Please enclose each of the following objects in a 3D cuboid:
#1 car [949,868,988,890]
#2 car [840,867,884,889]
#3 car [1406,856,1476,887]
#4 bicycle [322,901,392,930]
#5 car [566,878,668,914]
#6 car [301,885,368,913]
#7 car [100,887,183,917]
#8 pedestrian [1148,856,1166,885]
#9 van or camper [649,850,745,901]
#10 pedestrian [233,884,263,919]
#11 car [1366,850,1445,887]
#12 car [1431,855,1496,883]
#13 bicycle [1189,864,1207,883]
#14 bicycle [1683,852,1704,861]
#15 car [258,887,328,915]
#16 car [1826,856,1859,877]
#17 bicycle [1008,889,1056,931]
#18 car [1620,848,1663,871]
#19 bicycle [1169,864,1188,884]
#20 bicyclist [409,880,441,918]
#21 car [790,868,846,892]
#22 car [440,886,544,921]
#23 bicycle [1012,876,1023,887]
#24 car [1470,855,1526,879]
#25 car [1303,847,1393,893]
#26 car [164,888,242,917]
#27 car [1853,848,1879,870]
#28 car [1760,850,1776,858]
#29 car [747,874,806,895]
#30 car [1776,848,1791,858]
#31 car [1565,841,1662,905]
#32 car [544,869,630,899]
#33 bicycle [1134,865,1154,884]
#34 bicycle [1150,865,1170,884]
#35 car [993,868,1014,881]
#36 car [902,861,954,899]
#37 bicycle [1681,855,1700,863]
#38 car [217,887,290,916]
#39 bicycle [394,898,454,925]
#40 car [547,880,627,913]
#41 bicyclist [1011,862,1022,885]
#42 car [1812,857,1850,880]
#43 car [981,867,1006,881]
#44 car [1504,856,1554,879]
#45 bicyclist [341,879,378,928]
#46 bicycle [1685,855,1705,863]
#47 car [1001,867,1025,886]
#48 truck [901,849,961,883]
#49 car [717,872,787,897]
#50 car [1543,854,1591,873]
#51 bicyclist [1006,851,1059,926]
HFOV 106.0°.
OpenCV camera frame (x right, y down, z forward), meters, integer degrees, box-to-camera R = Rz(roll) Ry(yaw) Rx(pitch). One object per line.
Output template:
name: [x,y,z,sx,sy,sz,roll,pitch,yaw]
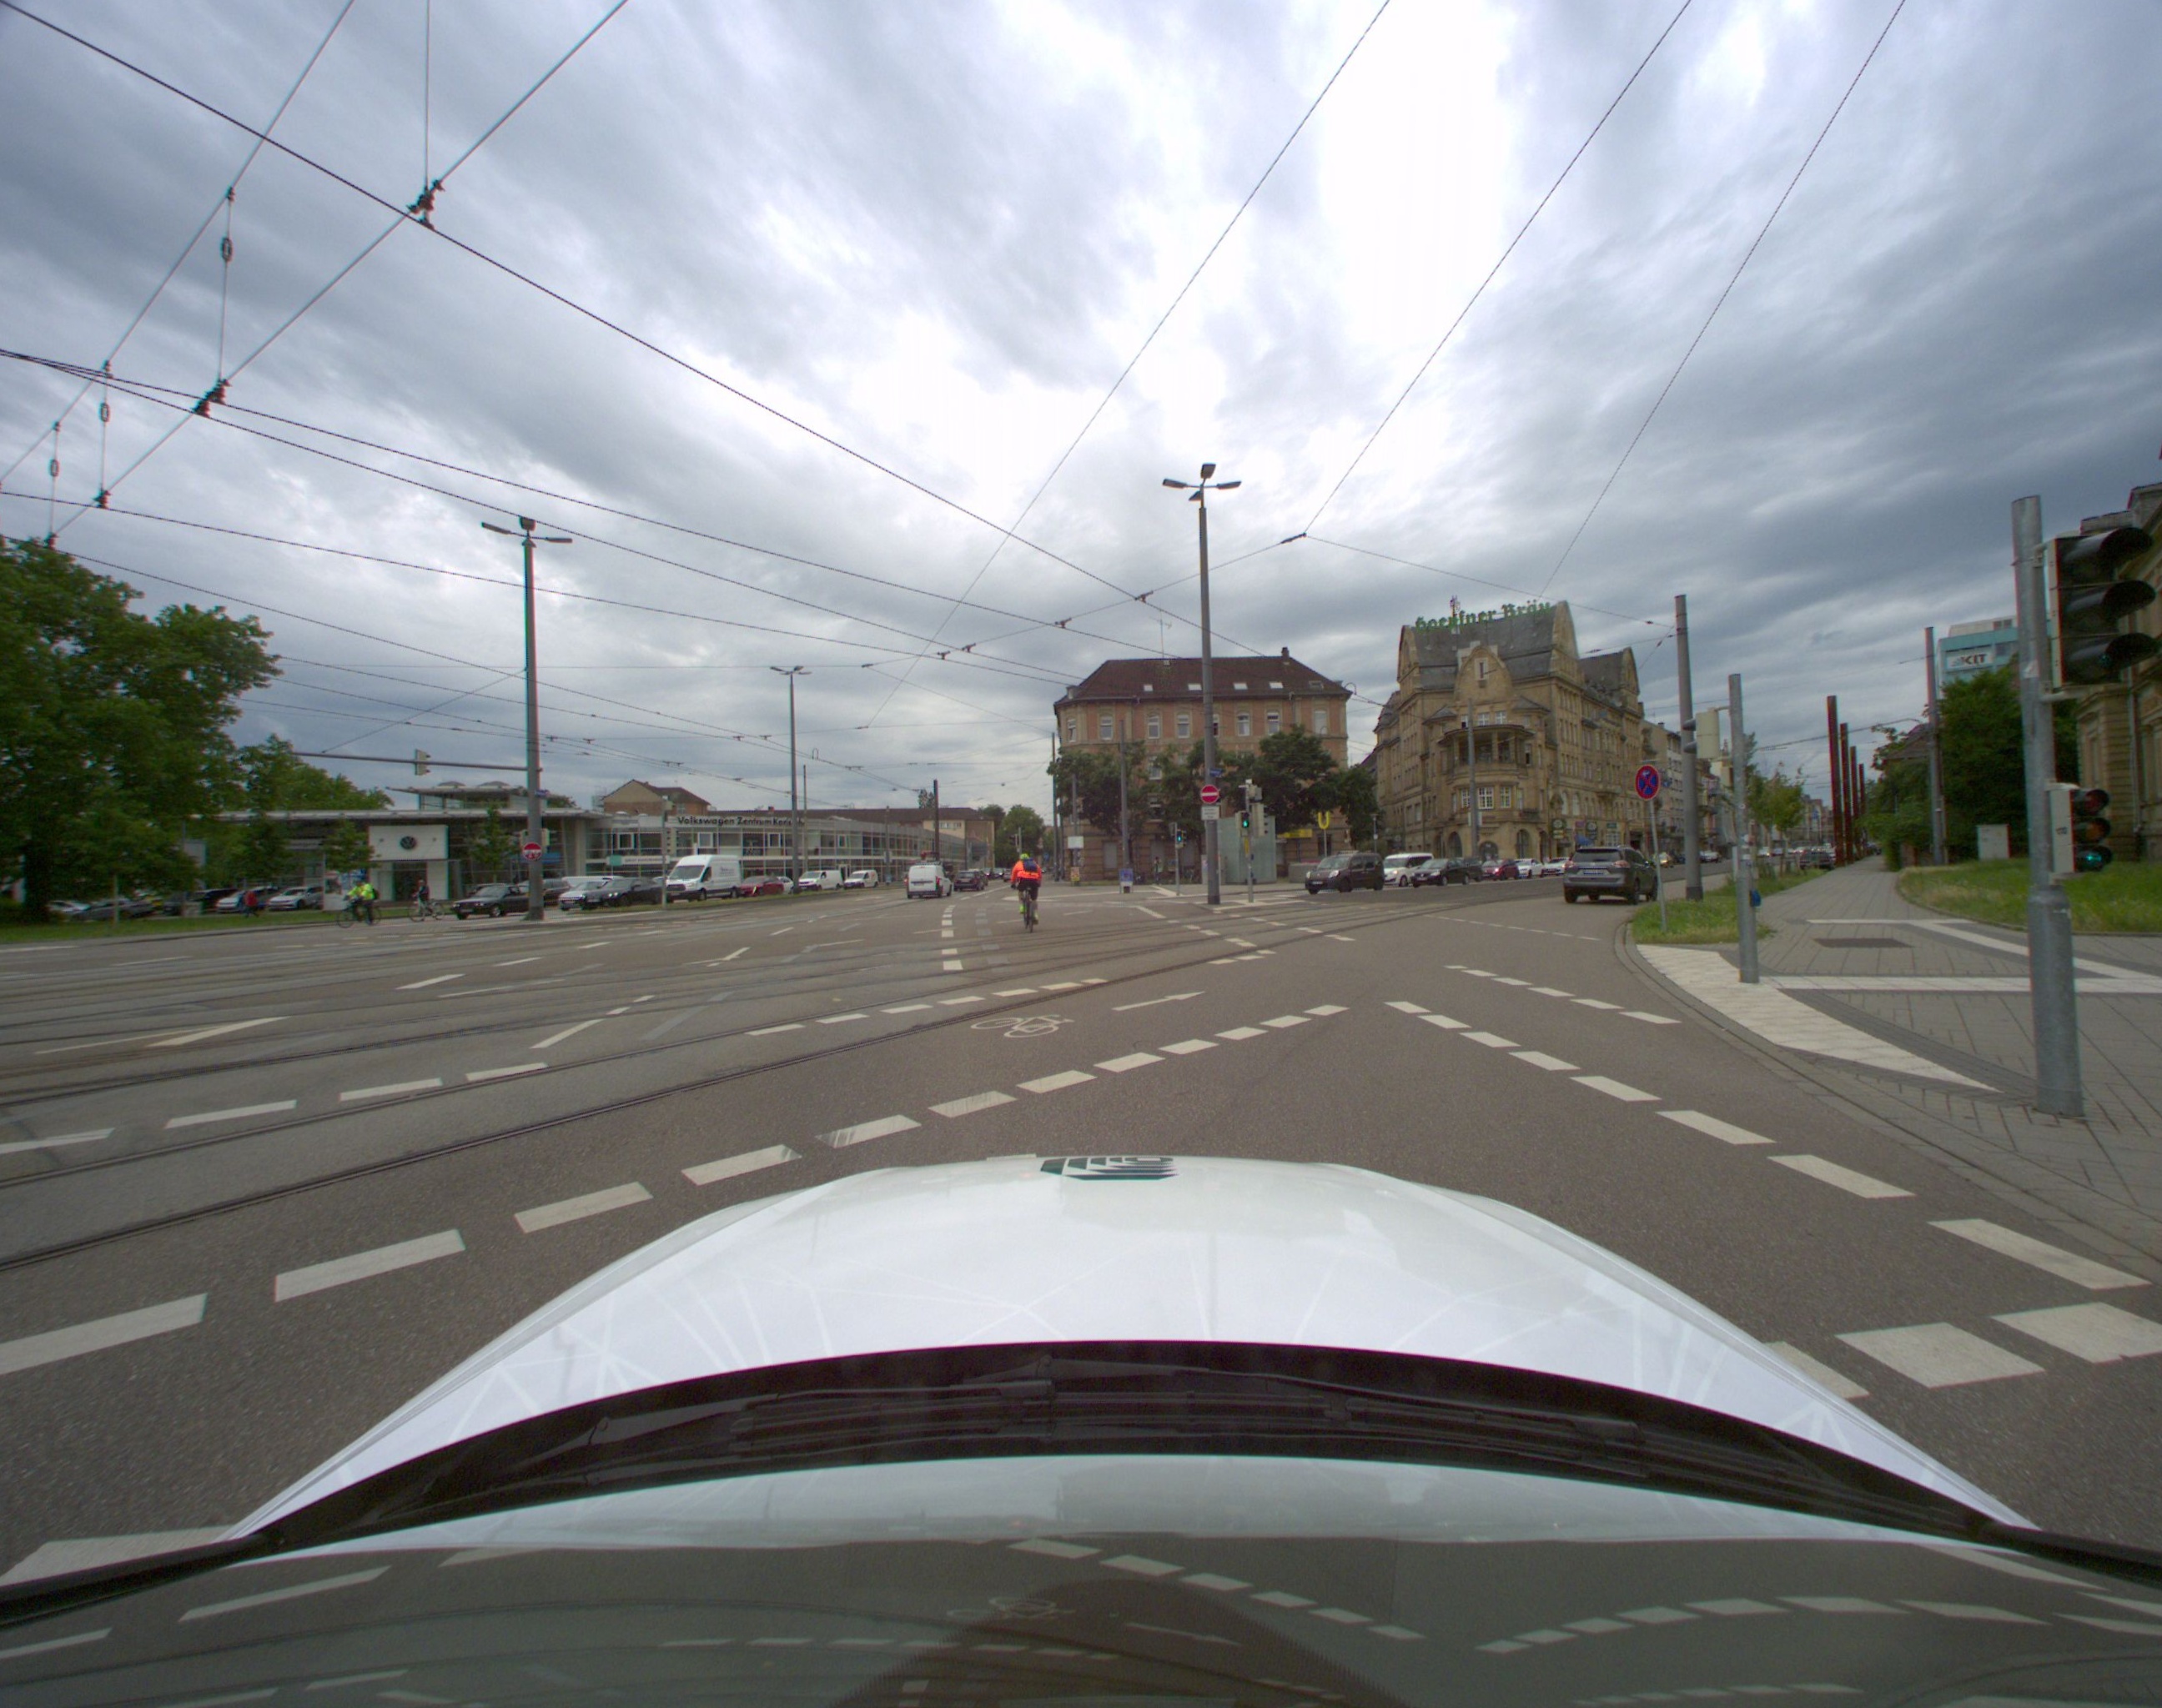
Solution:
car: [-7.684,1.703,56.105,1.986,1.420,4.001,-2,-1,2]
car: [-20.360,2.212,75.851,1.980,1.839,4.538,-2,-1,12]
car: [18.260,0.870,41.220,4.021,1.442,1.674,0,-2,-41]
bicycle: [-27.327,2.316,30.794,0.516,0.930,2.226,-2,0,5]
car: [-21.363,1.905,37.760,1.987,1.420,4.661,-2,-1,0]
car: [-58.265,3.477,63.639,1.994,2.014,3.984,0,-1,-11]
car: [-69.976,3.542,60.765,1.994,2.014,3.984,0,-1,-11]
pedestrian: [4.596,0.971,49.203,0.912,1.728,0.598,-1,-1,-19]
van or camper: [-21.229,1.185,45.398,2.407,2.611,6.051,-1,-1,1]
pedestrian: [-45.310,2.581,44.324,0.702,1.900,0.865,-1,-2,14]
car: [18.191,0.771,45.535,5.127,1.916,1.847,-1,-1,-40]
car: [23.220,0.900,49.370,4.324,1.535,1.847,-1,-3,-40]
bicycle: [8.519,1.431,59.107,0.951,1.354,3.132,-1,-1,14]
bicycle: [80.912,0.362,107.599,2.209,1.126,0.507,-2,-1,38]
car: [-61.090,3.580,63.246,1.994,2.014,3.984,0,-1,-11]
car: [62.171,0.999,66.428,1.739,1.574,3.953,-6,-4,45]
bicycle: [-1.132,1.233,18.367,0.558,0.848,2.060,-1,-1,-18]
car: [45.796,0.436,66.528,4.937,1.706,1.846,-1,-2,-43]
bicycle: [7.060,1.441,58.903,0.951,1.354,3.132,-1,-1,14]
bicyclist: [-27.163,1.843,33.743,0.563,1.508,0.858,-2,0,4]
car: [-21.811,2.130,67.811,2.143,1.856,5.462,-2,-1,10]
car: [-24.875,2.054,34.572,1.681,1.247,3.737,-2,-1,0]
bicycle: [-4.715,2.069,60.581,0.619,0.793,1.585,-1,-1,-11]
car: [27.252,0.842,53.169,3.916,1.399,1.846,-1,-3,-41]
car: [11.773,0.690,35.768,4.409,1.900,1.674,0,-2,-41]
car: [-66.341,3.622,61.610,1.994,2.014,3.984,0,-1,-11]
car: [85.306,0.532,88.487,5.013,2.115,1.834,0,-4,-45]
car: [118.780,-0.007,140.806,4.641,1.449,1.743,-1,-1,-44]
car: [-22.987,2.247,61.734,1.981,1.420,4.763,-2,-1,10]
car: [133.992,-0.210,155.227,4.641,1.672,1.743,-1,-1,-44]
car: [15.932,0.511,24.301,1.733,1.756,3.947,-1,0,44]
car: [-34.789,2.116,57.419,4.750,2.014,2.121,-1,-2,0]
bicycle: [4.617,1.474,59.188,0.951,1.354,3.132,-1,-1,14]
bicycle: [5.764,1.459,59.045,0.951,1.354,3.132,-1,-1,14]
car: [-11.222,2.914,117.823,1.983,1.839,4.532,-2,-1,7]
car: [-8.279,1.371,44.481,1.905,1.940,4.132,-2,-1,1]
bicycle: [77.035,0.674,102.956,1.903,1.001,0.466,-2,-1,38]
car: [-63.535,3.607,62.609,1.994,2.014,3.984,0,-1,-11]
bicycle: [-27.148,2.367,33.717,0.516,0.926,2.226,-2,0,5]
car: [-24.268,2.049,40.166,1.630,1.420,3.737,-2,-1,0]
bicyclist: [-4.771,1.445,60.627,0.688,1.708,0.795,-1,-1,-11]
car: [50.490,0.959,54.789,1.622,1.434,3.953,-6,-4,45]
car: [-11.883,2.699,110.797,1.980,1.839,4.538,-2,-1,12]
car: [31.335,0.924,56.920,4.387,1.380,1.730,-1,-4,-44]
bicyclist: [-27.351,1.872,30.884,0.624,1.803,0.798,-2,-1,4]
bicycle: [80.062,0.672,106.200,1.947,1.001,0.466,-2,-1,38]
car: [-7.577,2.505,90.795,1.984,2.014,4.005,-1,-1,5]
truck: [-16.588,1.411,90.846,2.773,3.549,9.261,-1,-1,16]
car: [-20.844,1.892,51.862,1.983,1.420,4.811,-2,-1,7]
car: [37.001,0.699,61.970,4.281,1.380,1.909,-1,-1,-42]
bicyclist: [-1.114,0.766,18.446,0.829,1.621,1.313,-1,-1,-19]
